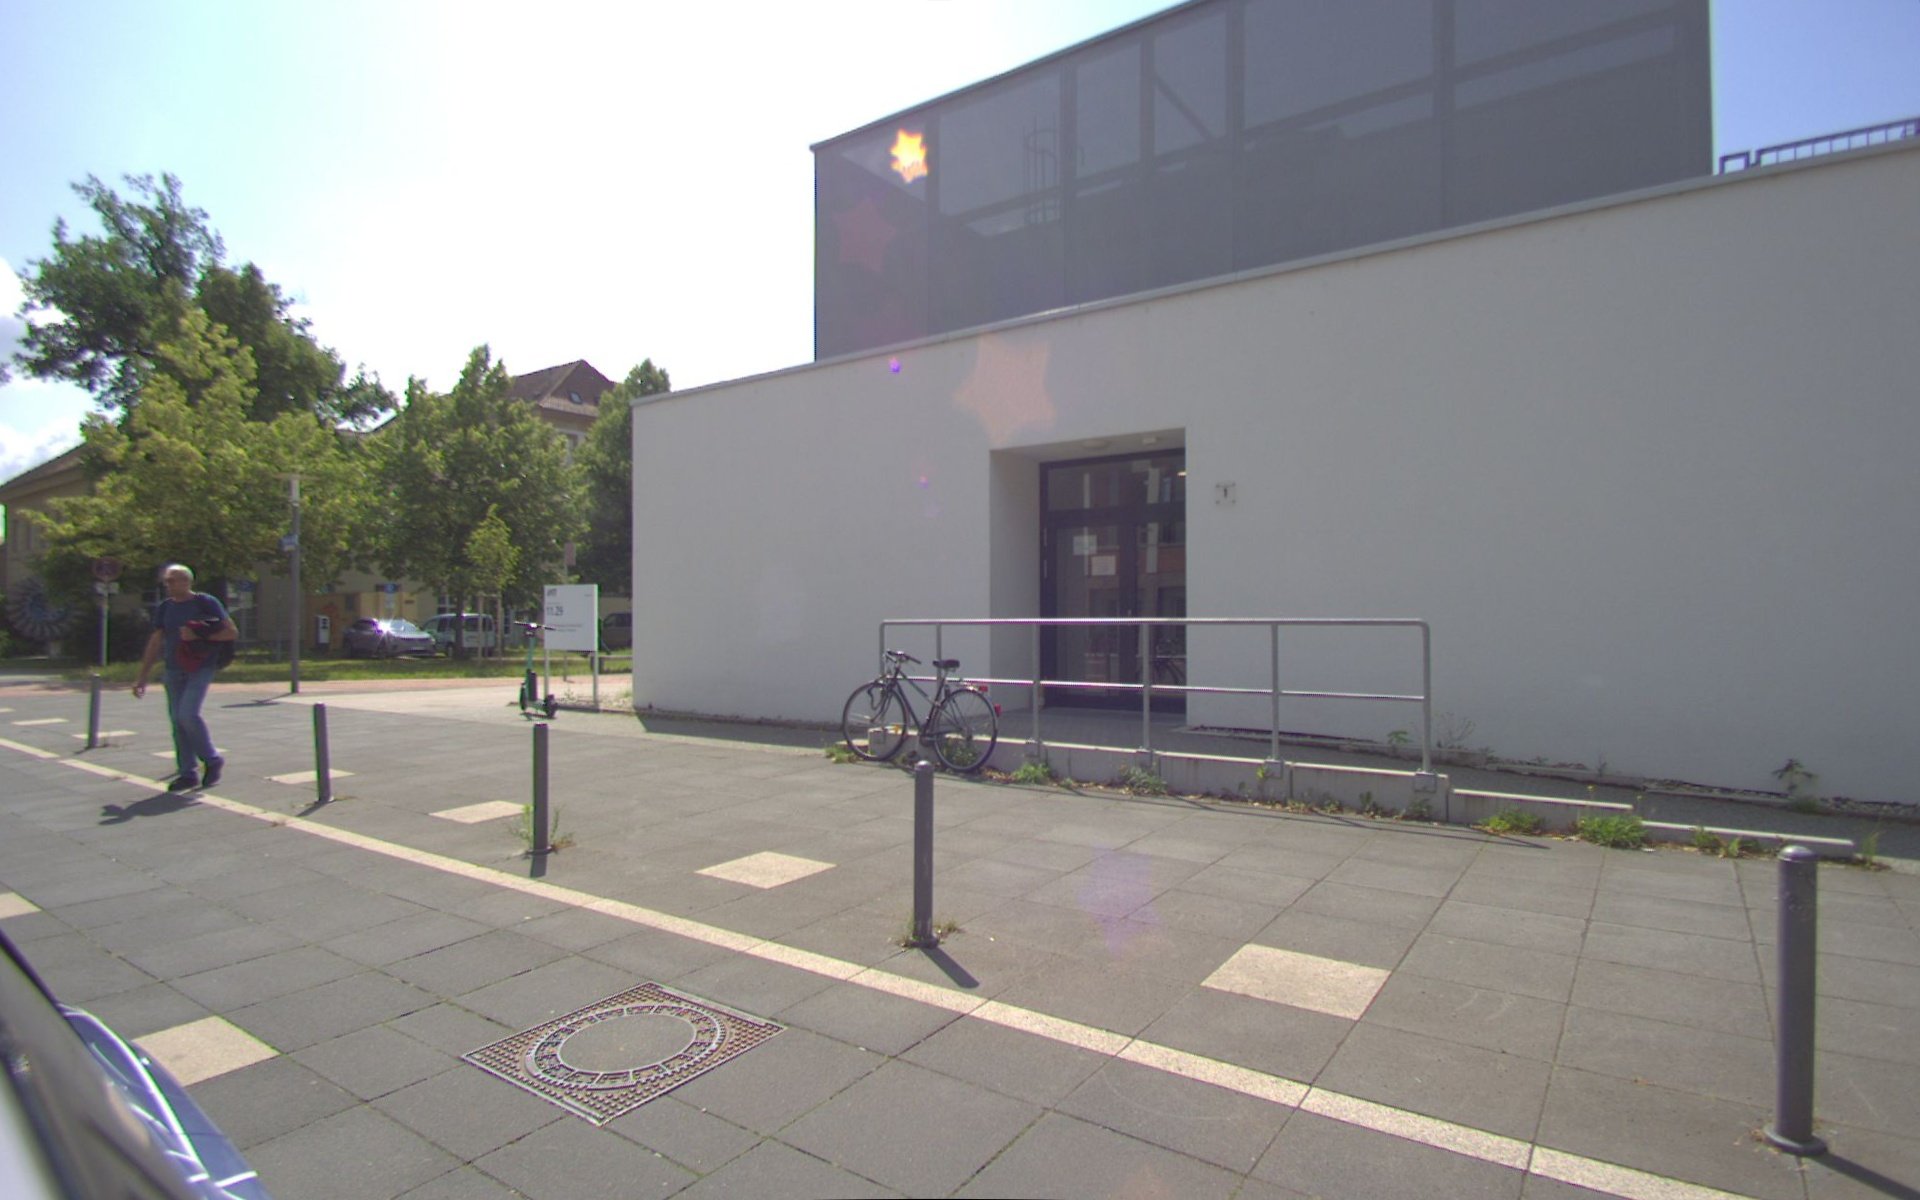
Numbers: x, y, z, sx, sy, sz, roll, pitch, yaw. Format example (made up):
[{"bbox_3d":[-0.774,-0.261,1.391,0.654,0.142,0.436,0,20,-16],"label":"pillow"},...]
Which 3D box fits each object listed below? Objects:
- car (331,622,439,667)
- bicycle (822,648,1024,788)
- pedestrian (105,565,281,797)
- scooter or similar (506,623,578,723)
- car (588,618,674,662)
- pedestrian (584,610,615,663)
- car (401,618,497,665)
[{"bbox_3d":[-22.662,1.712,39.825,4.639,1.593,1.878,0,-1,35],"label":"car"},{"bbox_3d":[-0.361,0.968,8.791,1.898,1.069,0.537,-2,-2,41],"label":"bicycle"},{"bbox_3d":[-6.547,0.652,8.651,1.140,1.831,0.817,-1,-2,30],"label":"pedestrian"},{"bbox_3d":[-5.599,0.951,13.537,0.476,1.272,1.315,1,-2,-42],"label":"scooter or similar"},{"bbox_3d":[-16.054,1.916,49.272,4.522,1.974,1.789,0,-1,39],"label":"car"},{"bbox_3d":[-12.656,1.278,35.498,0.858,1.800,0.638,1,2,-33],"label":"pedestrian"},{"bbox_3d":[-21.127,1.672,41.823,4.115,1.799,1.791,0,-1,35],"label":"car"}]
